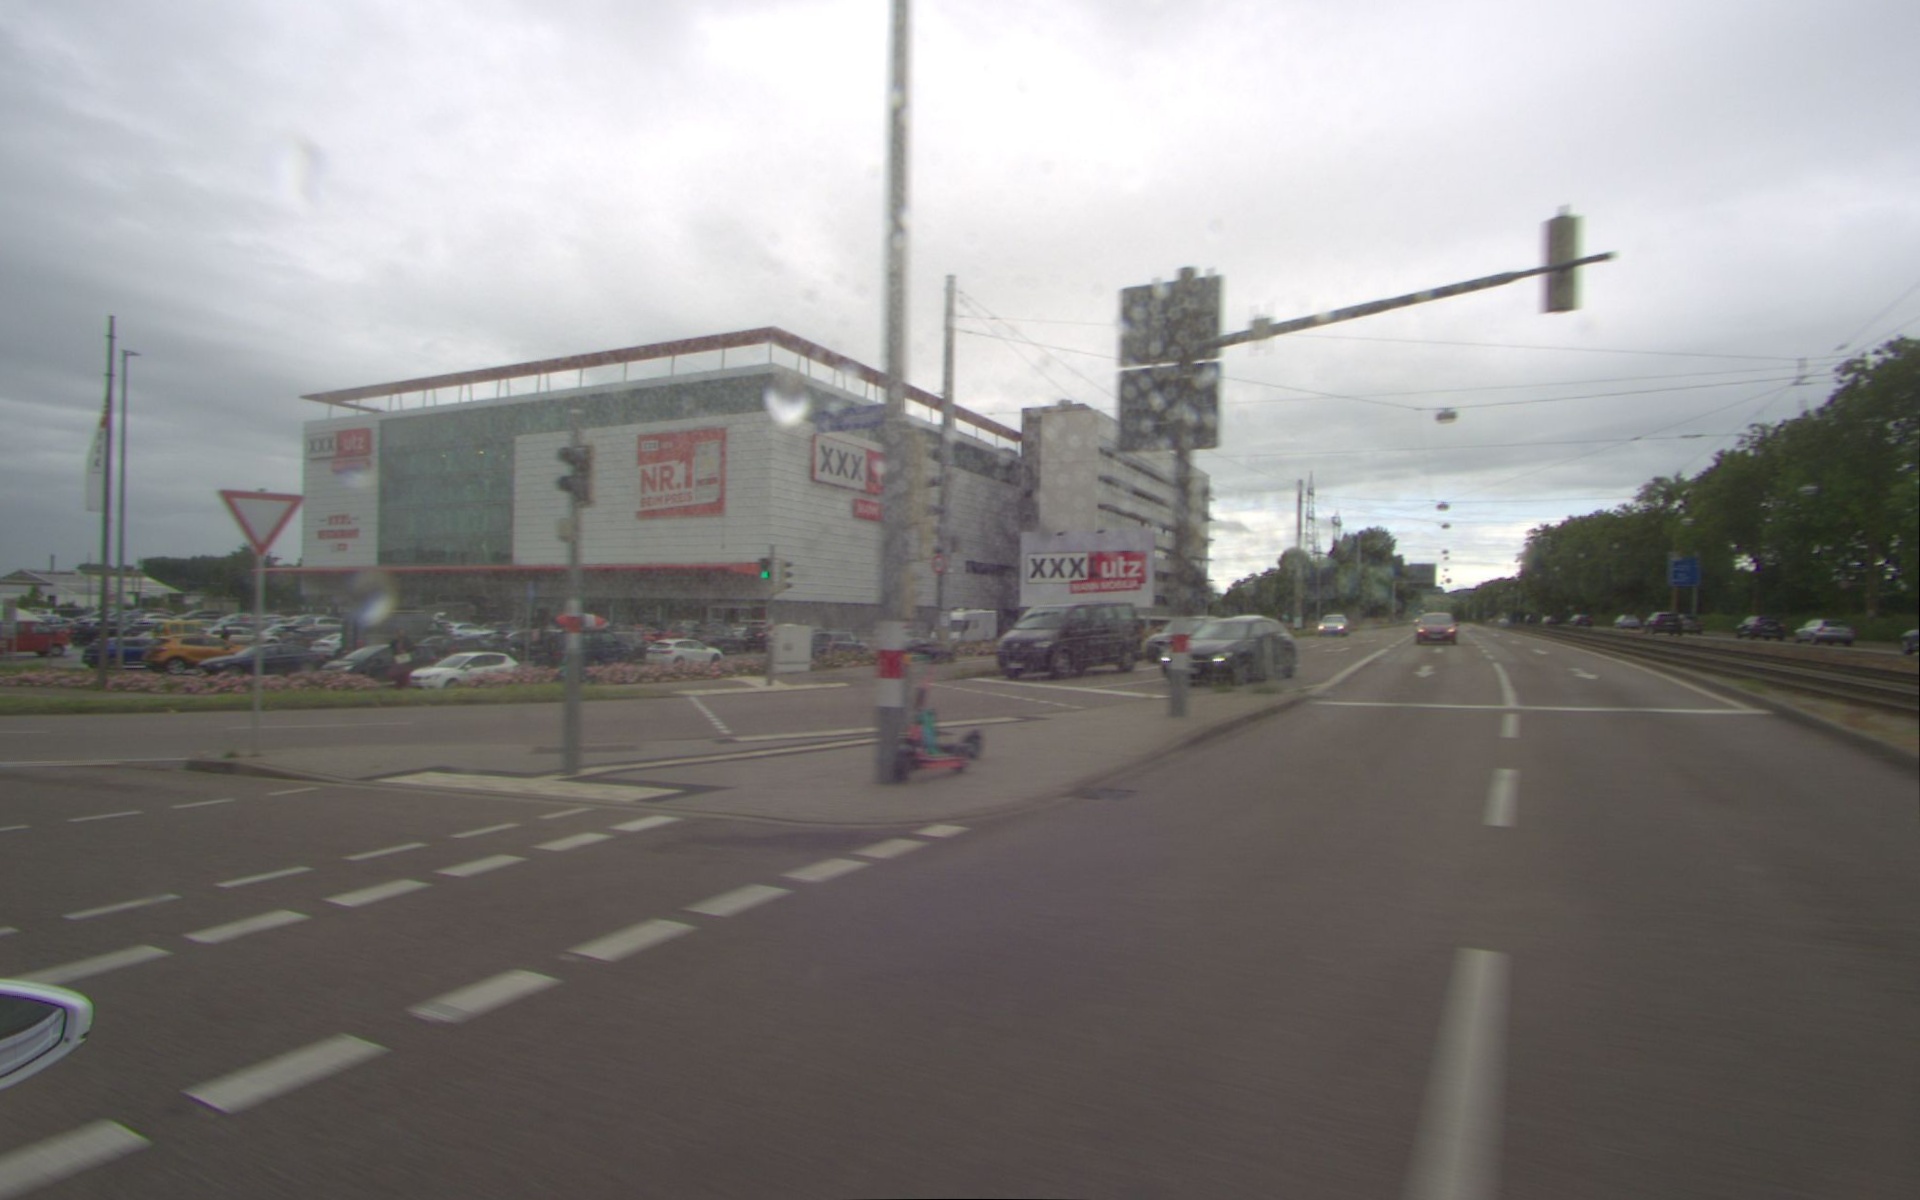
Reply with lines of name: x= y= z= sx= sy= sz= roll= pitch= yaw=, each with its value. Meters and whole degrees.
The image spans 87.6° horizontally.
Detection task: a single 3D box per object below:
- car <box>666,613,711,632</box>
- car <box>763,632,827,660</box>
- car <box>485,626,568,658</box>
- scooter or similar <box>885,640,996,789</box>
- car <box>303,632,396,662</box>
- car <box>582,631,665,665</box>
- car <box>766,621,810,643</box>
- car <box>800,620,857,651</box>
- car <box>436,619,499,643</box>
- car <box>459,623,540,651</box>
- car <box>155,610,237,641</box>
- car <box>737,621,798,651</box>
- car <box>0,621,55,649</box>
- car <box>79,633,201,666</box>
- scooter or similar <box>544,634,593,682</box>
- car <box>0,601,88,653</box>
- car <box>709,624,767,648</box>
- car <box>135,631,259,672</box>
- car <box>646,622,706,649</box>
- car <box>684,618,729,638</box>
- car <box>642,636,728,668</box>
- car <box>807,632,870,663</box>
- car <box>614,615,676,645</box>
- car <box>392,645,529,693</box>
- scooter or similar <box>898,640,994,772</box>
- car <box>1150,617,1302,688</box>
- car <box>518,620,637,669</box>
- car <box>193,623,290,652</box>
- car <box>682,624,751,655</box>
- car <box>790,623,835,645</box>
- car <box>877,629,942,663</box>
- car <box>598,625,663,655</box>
car: x=-23.069 y=1.901 z=85.216 sx=1.625 sy=1.581 sz=3.600 roll=2 pitch=1 yaw=29
car: x=-9.663 y=2.659 z=58.931 sx=1.803 sy=1.536 sz=3.988 roll=0 pitch=-1 yaw=24
car: x=-24.271 y=2.320 z=56.233 sx=1.857 sy=1.692 sz=3.983 roll=0 pitch=-1 yaw=29
scooter or similar: x=-0.168 y=1.012 z=9.204 sx=0.459 sy=1.272 sz=1.010 roll=-2 pitch=-2 yaw=41
car: x=-33.433 y=2.573 z=54.929 sx=1.835 sy=1.572 sz=3.984 roll=0 pitch=-2 yaw=29
car: x=-17.877 y=2.514 z=53.344 sx=1.968 sy=1.697 sz=3.986 roll=0 pitch=-1 yaw=26
car: x=-13.742 y=2.560 z=80.226 sx=1.625 sy=1.581 sz=3.600 roll=2 pitch=1 yaw=29
car: x=-8.700 y=2.374 z=66.530 sx=1.967 sy=1.976 sz=3.990 roll=0 pitch=-2 yaw=24
car: x=-36.616 y=2.325 z=74.523 sx=1.805 sy=1.676 sz=3.987 roll=0 pitch=-2 yaw=26
car: x=-26.543 y=2.141 z=57.820 sx=1.826 sy=1.575 sz=3.985 roll=0 pitch=-2 yaw=29
car: x=-48.260 y=1.636 z=63.301 sx=1.707 sy=1.791 sz=3.734 roll=3 pitch=0 yaw=29
car: x=-12.991 y=2.432 z=67.807 sx=1.921 sy=1.954 sz=3.982 roll=0 pitch=-1 yaw=30
car: x=-54.387 y=1.957 z=56.626 sx=1.930 sy=1.480 sz=4.371 roll=3 pitch=0 yaw=29
car: x=-37.825 y=2.255 z=46.281 sx=1.787 sy=1.474 sz=3.984 roll=0 pitch=-2 yaw=29
scooter or similar: x=-10.309 y=1.536 z=26.402 sx=1.143 sy=1.248 sz=0.346 roll=0 pitch=-2 yaw=-11
car: x=-50.504 y=1.442 z=54.007 sx=2.137 sy=2.613 sz=4.719 roll=3 pitch=0 yaw=29
car: x=-15.380 y=2.488 z=69.563 sx=1.751 sy=1.552 sz=3.982 roll=1 pitch=0 yaw=29
car: x=-33.531 y=2.225 z=44.079 sx=1.789 sy=1.664 sz=3.980 roll=0 pitch=-1 yaw=32
car: x=-20.102 y=2.499 z=71.015 sx=1.793 sy=1.842 sz=3.982 roll=0 pitch=-1 yaw=30
car: x=-21.056 y=2.321 z=83.402 sx=1.625 sy=1.581 sz=3.600 roll=2 pitch=1 yaw=29
car: x=-13.807 y=2.579 z=50.461 sx=1.719 sy=1.495 sz=4.193 roll=0 pitch=-1 yaw=29
car: x=-7.036 y=2.725 z=58.324 sx=1.855 sy=1.687 sz=3.988 roll=1 pitch=-1 yaw=25
car: x=-22.493 y=2.123 z=71.688 sx=1.970 sy=2.040 sz=3.983 roll=0 pitch=-1 yaw=29
car: x=-17.840 y=2.425 z=35.953 sx=1.845 sy=1.464 sz=4.107 roll=3 pitch=0 yaw=26
scooter or similar: x=-0.127 y=1.069 z=10.400 sx=0.317 sy=1.272 sz=1.106 roll=-2 pitch=-1 yaw=41
car: x=6.201 y=1.150 z=23.041 sx=1.816 sy=1.483 sz=4.176 roll=0 pitch=-1 yaw=40
car: x=-18.015 y=2.039 z=47.394 sx=2.092 sy=2.193 sz=5.026 roll=0 pitch=-1 yaw=32
car: x=-43.525 y=2.256 z=60.762 sx=1.806 sy=1.604 sz=4.409 roll=3 pitch=-1 yaw=29
car: x=-15.308 y=2.455 z=63.180 sx=1.837 sy=1.804 sz=4.204 roll=1 pitch=0 yaw=30
car: x=-11.568 y=2.611 z=78.547 sx=1.625 sy=1.581 sz=3.600 roll=2 pitch=1 yaw=29
car: x=-2.783 y=2.532 z=56.213 sx=1.885 sy=1.779 sz=3.984 roll=0 pitch=-1 yaw=28
car: x=-21.873 y=2.616 z=66.640 sx=1.805 sy=1.886 sz=3.984 roll=0 pitch=-1 yaw=28
